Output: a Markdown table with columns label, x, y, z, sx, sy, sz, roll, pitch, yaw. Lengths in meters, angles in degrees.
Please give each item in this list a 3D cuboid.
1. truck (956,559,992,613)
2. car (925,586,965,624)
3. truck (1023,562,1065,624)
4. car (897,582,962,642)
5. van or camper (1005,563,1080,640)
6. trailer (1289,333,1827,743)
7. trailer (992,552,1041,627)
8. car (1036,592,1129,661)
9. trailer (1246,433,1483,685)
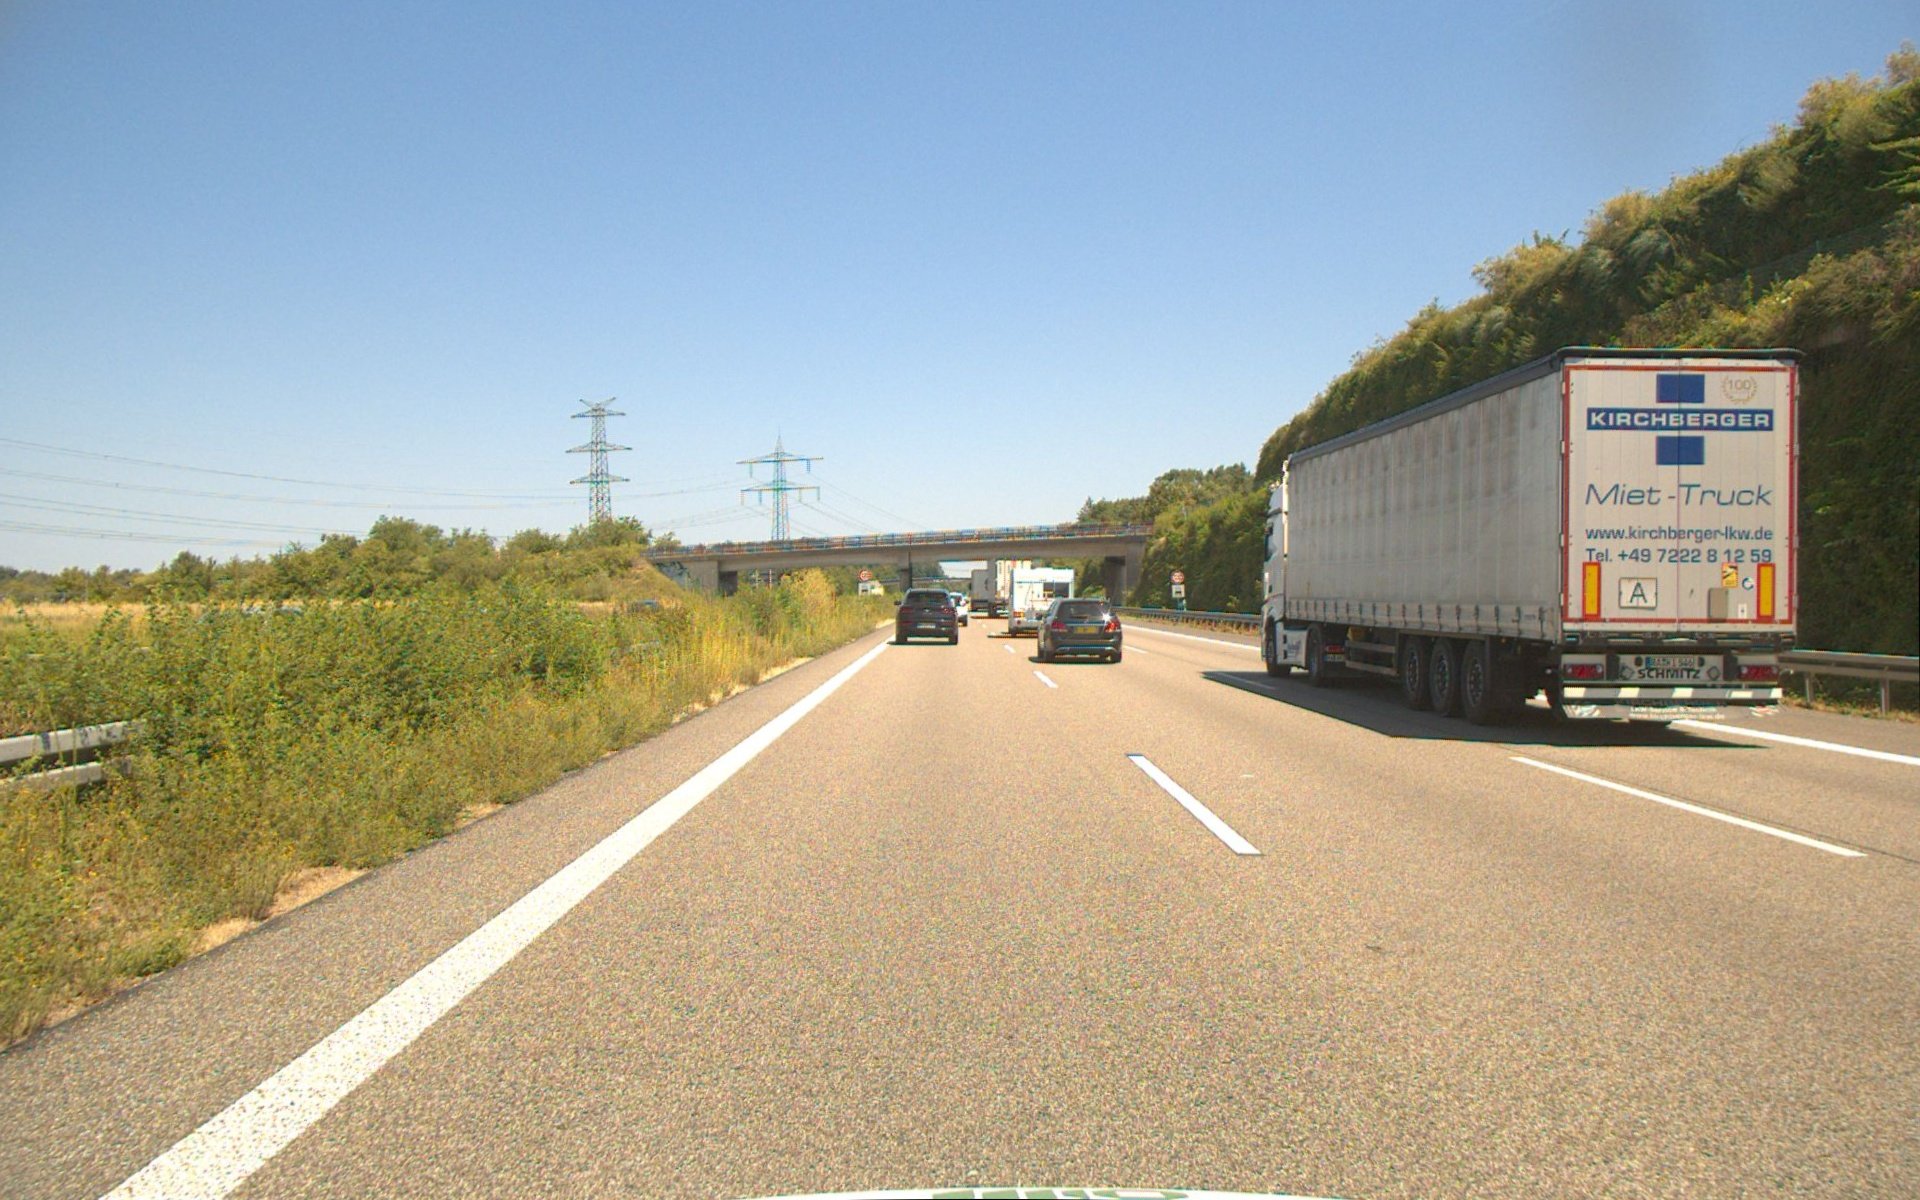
| label | x | y | z | sx | sy | sz | roll | pitch | yaw |
| --- | --- | --- | --- | --- | --- | --- | --- | --- | --- |
| truck | 1.365 | -1.367 | 166.111 | 3.440 | 5.257 | 10.258 | 0 | 0 | 0 |
| car | -0.780 | 0.240 | 83.672 | 1.922 | 1.846 | 4.448 | -1 | 0 | -1 |
| truck | 7.038 | -0.551 | 139.510 | 3.023 | 4.970 | 8.797 | 1 | 0 | 0 |
| car | -0.955 | 0.355 | 52.472 | 1.953 | 1.803 | 3.999 | -1 | 0 | -1 |
| van or camper | 3.034 | 0.039 | 62.269 | 2.389 | 2.721 | 6.348 | -1 | 0 | -1 |
| trailer | 7.421 | -0.649 | 23.478 | 2.673 | 4.174 | 13.187 | 0 | 0 | -1 |
| trailer | 3.878 | -0.702 | 116.679 | 3.023 | 4.970 | 12.257 | 1 | 0 | 0 |
| car | 2.857 | 0.582 | 39.557 | 1.804 | 1.532 | 4.737 | 1 | 0 | -1 |
| trailer | 7.310 | -0.687 | 30.883 | 2.658 | 4.174 | 6.788 | 0 | 0 | -1 |
